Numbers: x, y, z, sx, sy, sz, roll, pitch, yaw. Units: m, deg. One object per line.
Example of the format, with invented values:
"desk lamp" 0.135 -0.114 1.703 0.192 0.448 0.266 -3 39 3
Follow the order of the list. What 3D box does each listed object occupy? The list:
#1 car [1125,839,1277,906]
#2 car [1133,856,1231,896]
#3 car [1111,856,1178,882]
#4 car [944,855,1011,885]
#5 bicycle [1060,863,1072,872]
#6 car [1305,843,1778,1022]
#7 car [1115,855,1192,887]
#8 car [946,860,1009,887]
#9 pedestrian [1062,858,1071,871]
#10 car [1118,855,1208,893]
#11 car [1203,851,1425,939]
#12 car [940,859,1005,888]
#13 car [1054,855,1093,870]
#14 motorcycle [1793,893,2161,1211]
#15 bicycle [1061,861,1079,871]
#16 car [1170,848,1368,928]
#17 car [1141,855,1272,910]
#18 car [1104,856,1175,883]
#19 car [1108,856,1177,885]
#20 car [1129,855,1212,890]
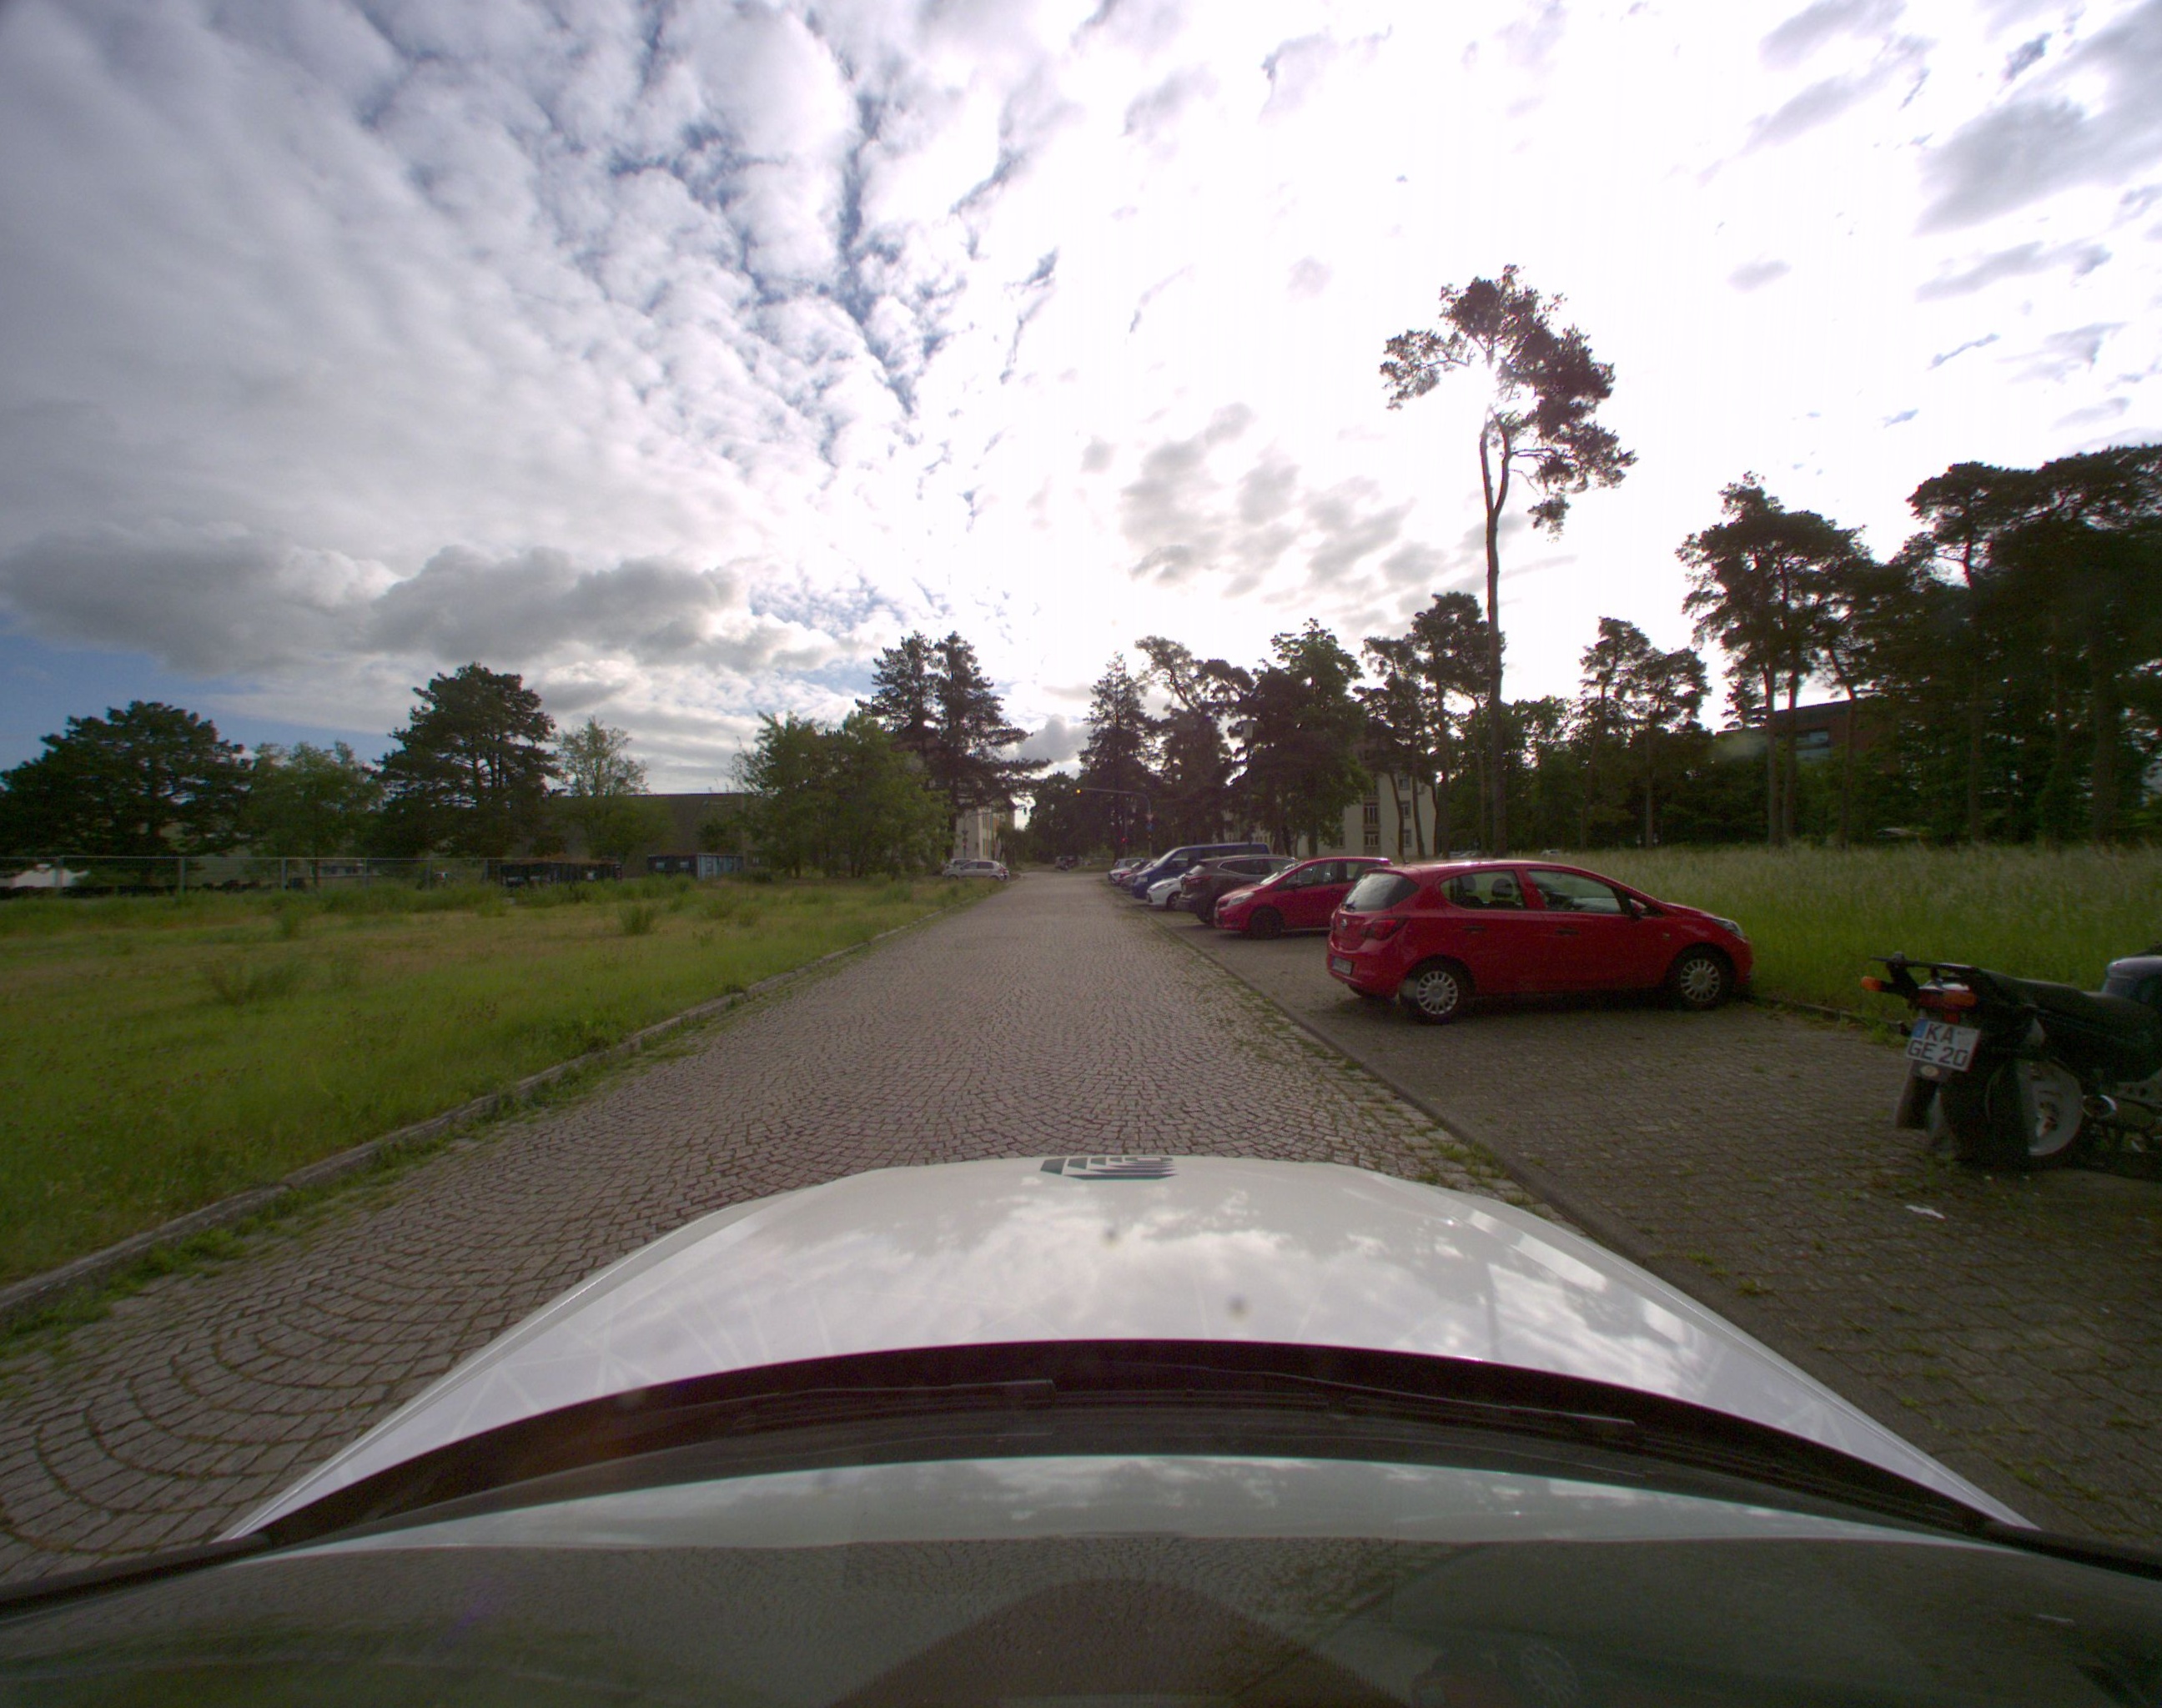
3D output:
"car" 3.968 0.612 27.513 4.744 1.954 1.929 -2 -1 -4
"car" 4.016 0.873 32.789 3.664 1.449 1.522 -2 -1 -3
"car" 3.988 0.920 51.302 3.962 1.421 1.616 -2 -1 -6
"car" -6.997 1.091 55.312 4.251 1.840 1.742 -2 -1 -2
"bicycle" -1.782 1.584 95.981 0.623 0.945 1.647 0 -1 -29
"car" 4.463 0.716 8.317 3.816 1.460 1.778 -2 -1 -2
"car" 3.664 0.867 41.251 3.664 1.449 1.522 -2 -1 -3
"car" -6.593 1.224 52.335 3.812 1.572 1.563 -2 -1 -2
"pedestrian" -1.749 1.306 100.006 1.033 1.614 0.755 0 -1 -8
"car" 3.544 0.869 35.554 3.664 1.449 1.522 -2 -1 -3
"car" 4.436 0.769 15.905 3.781 1.460 1.750 -2 -1 -2
"car" -6.593 1.169 49.919 3.815 1.572 1.562 -2 -1 -5
"car" -1.104 1.226 117.982 5.447 2.014 2.260 0 -1 -11
"motorcycle" 4.809 0.827 3.817 2.322 1.186 0.794 -2 -1 -4
"bicycle" -1.361 1.510 99.770 2.134 1.215 0.620 0 -1 -7
"car" 4.187 0.733 18.549 4.020 1.552 1.748 -2 -1 -4
"car" 3.775 0.851 24.912 3.665 1.449 1.612 -2 -1 -4
"car" 3.466 0.931 48.637 3.962 1.421 1.616 -2 -1 -6
"car" 3.431 0.907 45.781 3.667 1.421 1.521 -2 -1 -6
"car" 4.190 0.860 38.561 3.664 1.449 1.522 -2 -1 -3
